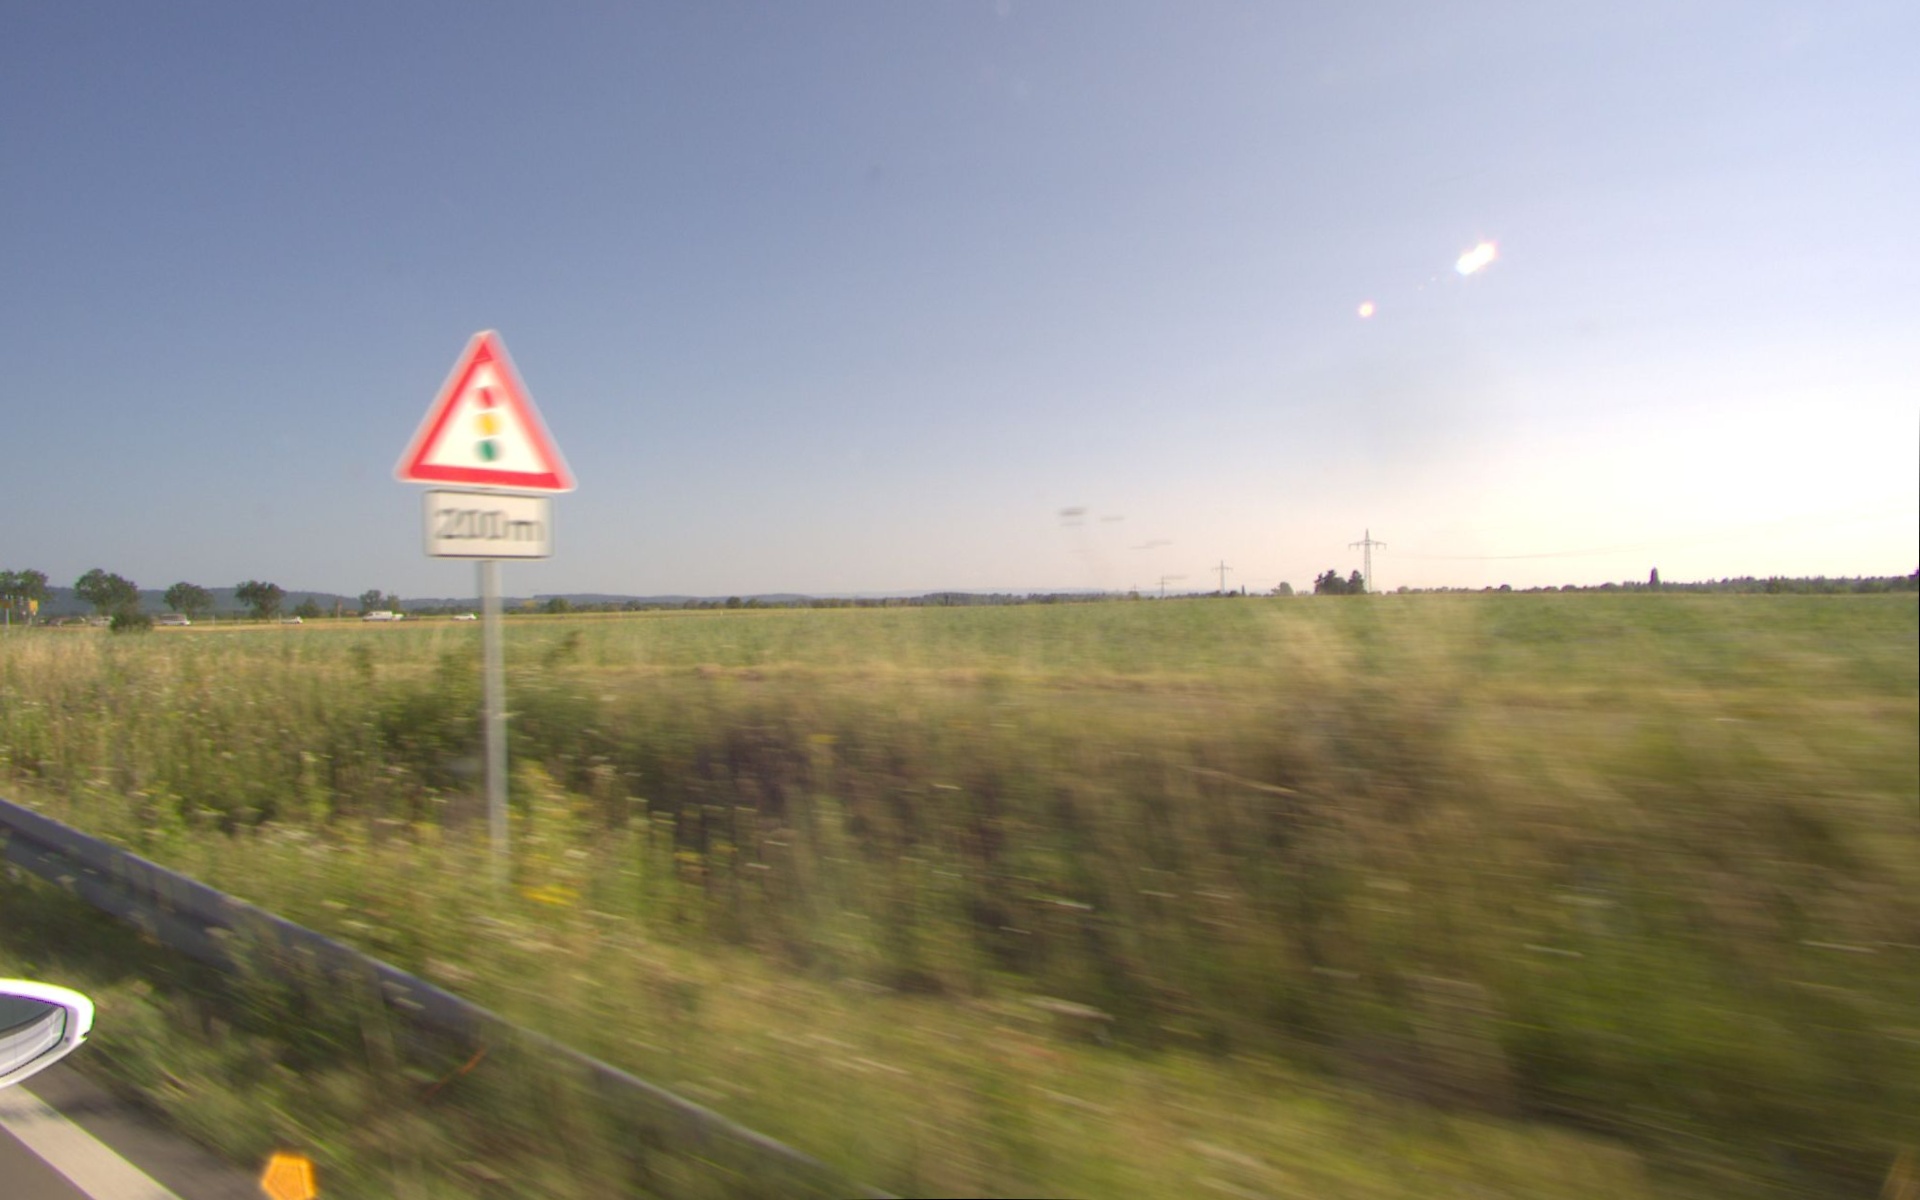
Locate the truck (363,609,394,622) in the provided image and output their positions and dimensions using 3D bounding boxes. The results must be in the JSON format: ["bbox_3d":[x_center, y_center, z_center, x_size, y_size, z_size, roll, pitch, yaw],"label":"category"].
[{"bbox_3d":[-125.771,3.312,216.674,5.511,2.729,3.283,1,-2,-26],"label":"truck"}]

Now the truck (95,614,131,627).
[{"bbox_3d":[-166.996,4.101,197.451,4.975,2.561,1.998,0,-2,-15],"label":"truck"}]
